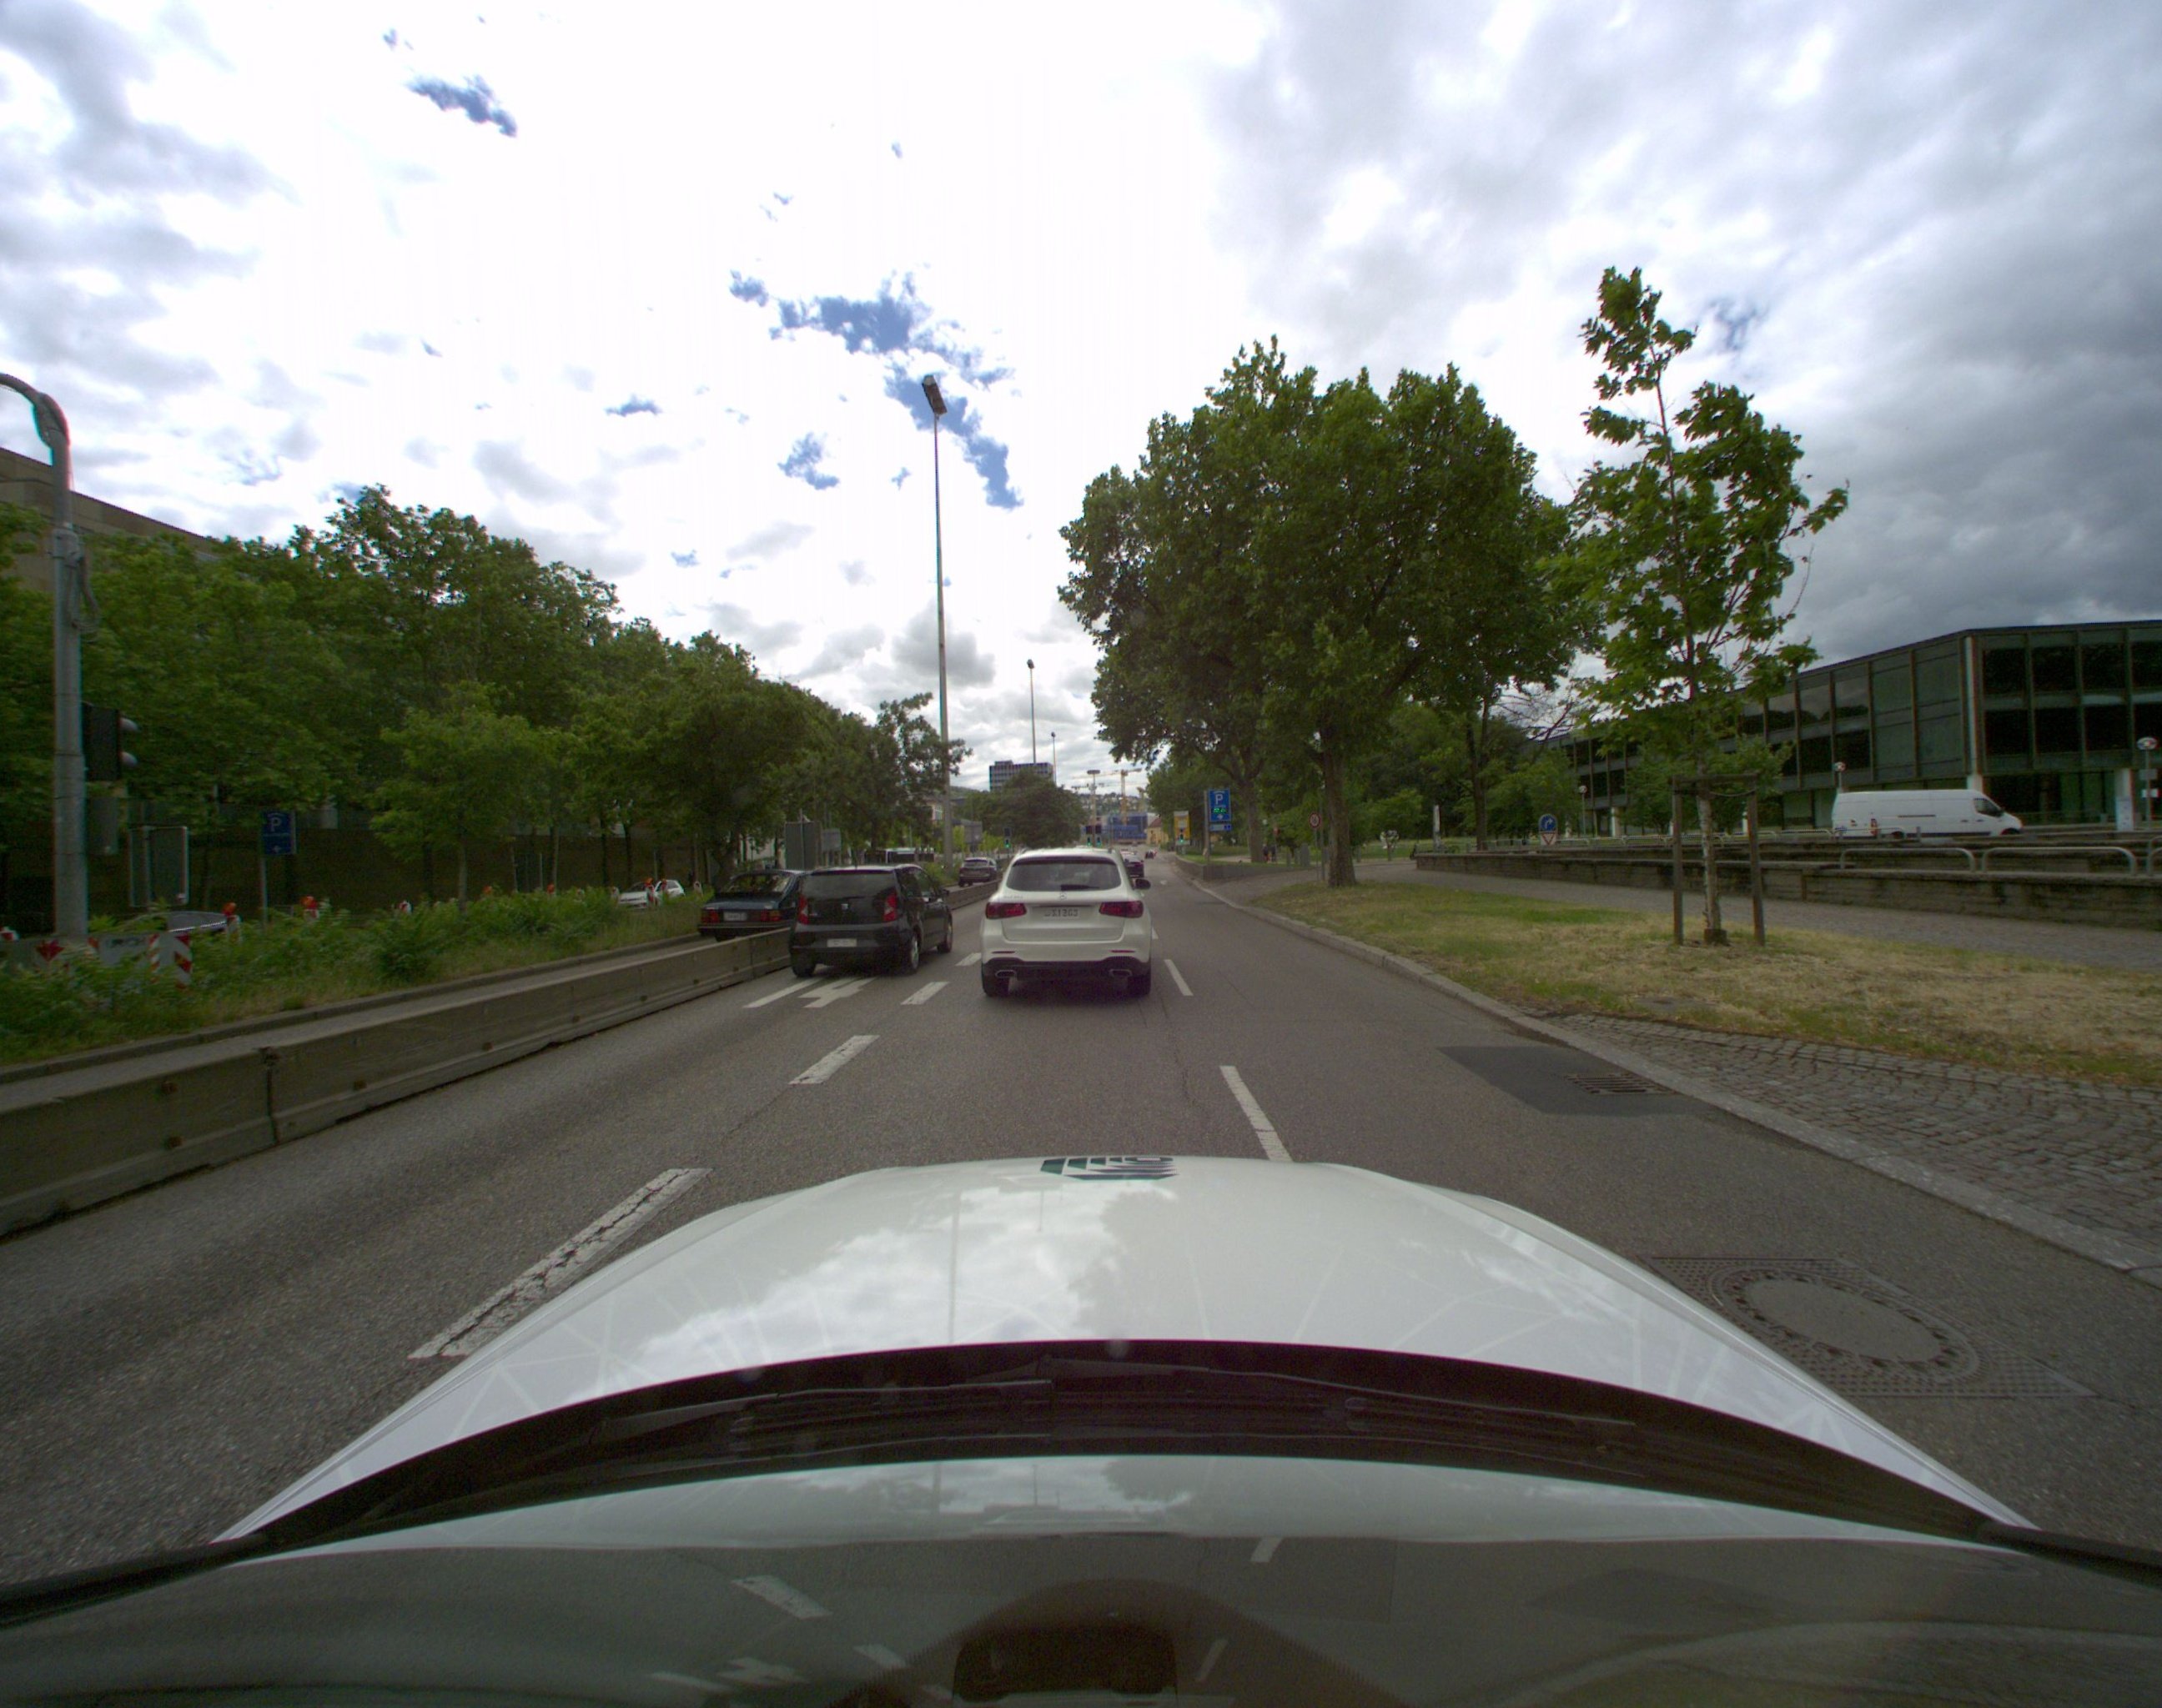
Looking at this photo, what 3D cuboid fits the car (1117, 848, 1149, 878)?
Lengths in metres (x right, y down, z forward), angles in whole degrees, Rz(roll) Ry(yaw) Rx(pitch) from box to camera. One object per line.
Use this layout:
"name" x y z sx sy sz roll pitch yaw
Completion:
"car" 3.298 0.542 52.221 1.818 1.752 4.001 -2 0 2

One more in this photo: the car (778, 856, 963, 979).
"car" -2.900 0.802 12.000 1.602 1.473 3.624 -2 0 2

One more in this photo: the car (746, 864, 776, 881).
"car" -40.662 2.347 103.600 1.986 1.914 4.001 -2 0 2

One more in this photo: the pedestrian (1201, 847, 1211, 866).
"pedestrian" 13.390 0.308 86.970 0.752 2.013 0.703 -2 0 38

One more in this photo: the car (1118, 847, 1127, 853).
"car" 9.233 -0.901 180.814 1.939 1.319 4.020 -1 0 3

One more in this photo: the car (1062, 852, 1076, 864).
"car" -1.564 0.513 109.190 1.652 1.513 3.550 -2 0 3

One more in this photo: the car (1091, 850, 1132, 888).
"car" 1.363 0.658 37.382 1.654 1.639 3.546 -2 0 -1

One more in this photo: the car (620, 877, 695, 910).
"car" -21.182 1.960 40.893 1.654 1.383 3.805 -2 0 2

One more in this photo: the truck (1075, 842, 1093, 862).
"truck" 0.513 -0.305 122.314 2.611 2.861 7.080 -1 0 1

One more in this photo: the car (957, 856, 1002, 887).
"car" -5.143 0.862 41.548 1.655 1.436 3.962 -1 -1 2

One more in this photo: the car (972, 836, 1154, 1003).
"car" -0.032 0.667 10.377 1.780 1.625 4.442 -2 0 4

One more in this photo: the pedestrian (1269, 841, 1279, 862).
"pedestrian" 15.875 -0.225 67.020 0.754 1.724 0.701 -2 0 10

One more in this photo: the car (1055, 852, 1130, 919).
"car" 0.231 0.818 22.654 1.791 1.608 3.751 -4 0 -3

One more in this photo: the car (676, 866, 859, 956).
"car" -5.890 0.990 15.973 1.672 1.367 4.545 -2 0 2

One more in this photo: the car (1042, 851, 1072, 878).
"car" -1.561 0.683 53.354 1.846 1.628 4.903 -1 -1 -1

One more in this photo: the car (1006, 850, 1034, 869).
"car" -5.091 0.435 68.471 1.769 1.420 4.003 -2 0 3

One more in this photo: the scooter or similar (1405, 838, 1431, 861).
"scooter or similar" 18.145 -0.226 43.859 0.633 1.245 2.228 0 -1 5

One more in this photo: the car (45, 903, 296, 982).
"car" -21.822 2.061 19.779 1.724 1.442 3.799 -2 0 1

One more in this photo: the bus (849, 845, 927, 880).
"bus" -19.829 0.797 85.191 3.651 3.205 14.290 -2 0 4

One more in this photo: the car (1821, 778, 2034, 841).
"car" 34.902 -1.790 33.758 6.081 2.260 2.404 -2 0 3

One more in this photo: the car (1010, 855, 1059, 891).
"car" -1.962 0.805 35.406 1.791 1.437 4.020 -1 0 1

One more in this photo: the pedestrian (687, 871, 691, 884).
"pedestrian" -32.353 1.958 67.226 0.214 1.078 0.258 0 -1 -16

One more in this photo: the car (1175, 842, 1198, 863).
"car" 10.656 -0.154 82.705 1.985 2.014 4.003 -1 0 3

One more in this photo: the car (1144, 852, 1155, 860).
"car" 12.930 0.418 154.362 1.939 1.428 4.020 -1 0 3

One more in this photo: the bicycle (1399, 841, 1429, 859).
"bicycle" 19.988 -0.245 48.921 0.950 1.063 2.336 0 -1 2

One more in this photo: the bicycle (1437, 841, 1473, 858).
"bicycle" 22.391 -0.243 48.836 0.950 0.975 2.788 0 -1 2

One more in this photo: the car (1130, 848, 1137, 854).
"car" 15.211 -0.925 234.893 1.751 1.669 4.170 -2 0 2

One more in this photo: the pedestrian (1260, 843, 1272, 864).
"pedestrian" 14.730 -0.050 64.897 0.662 1.611 0.637 -2 0 -16
